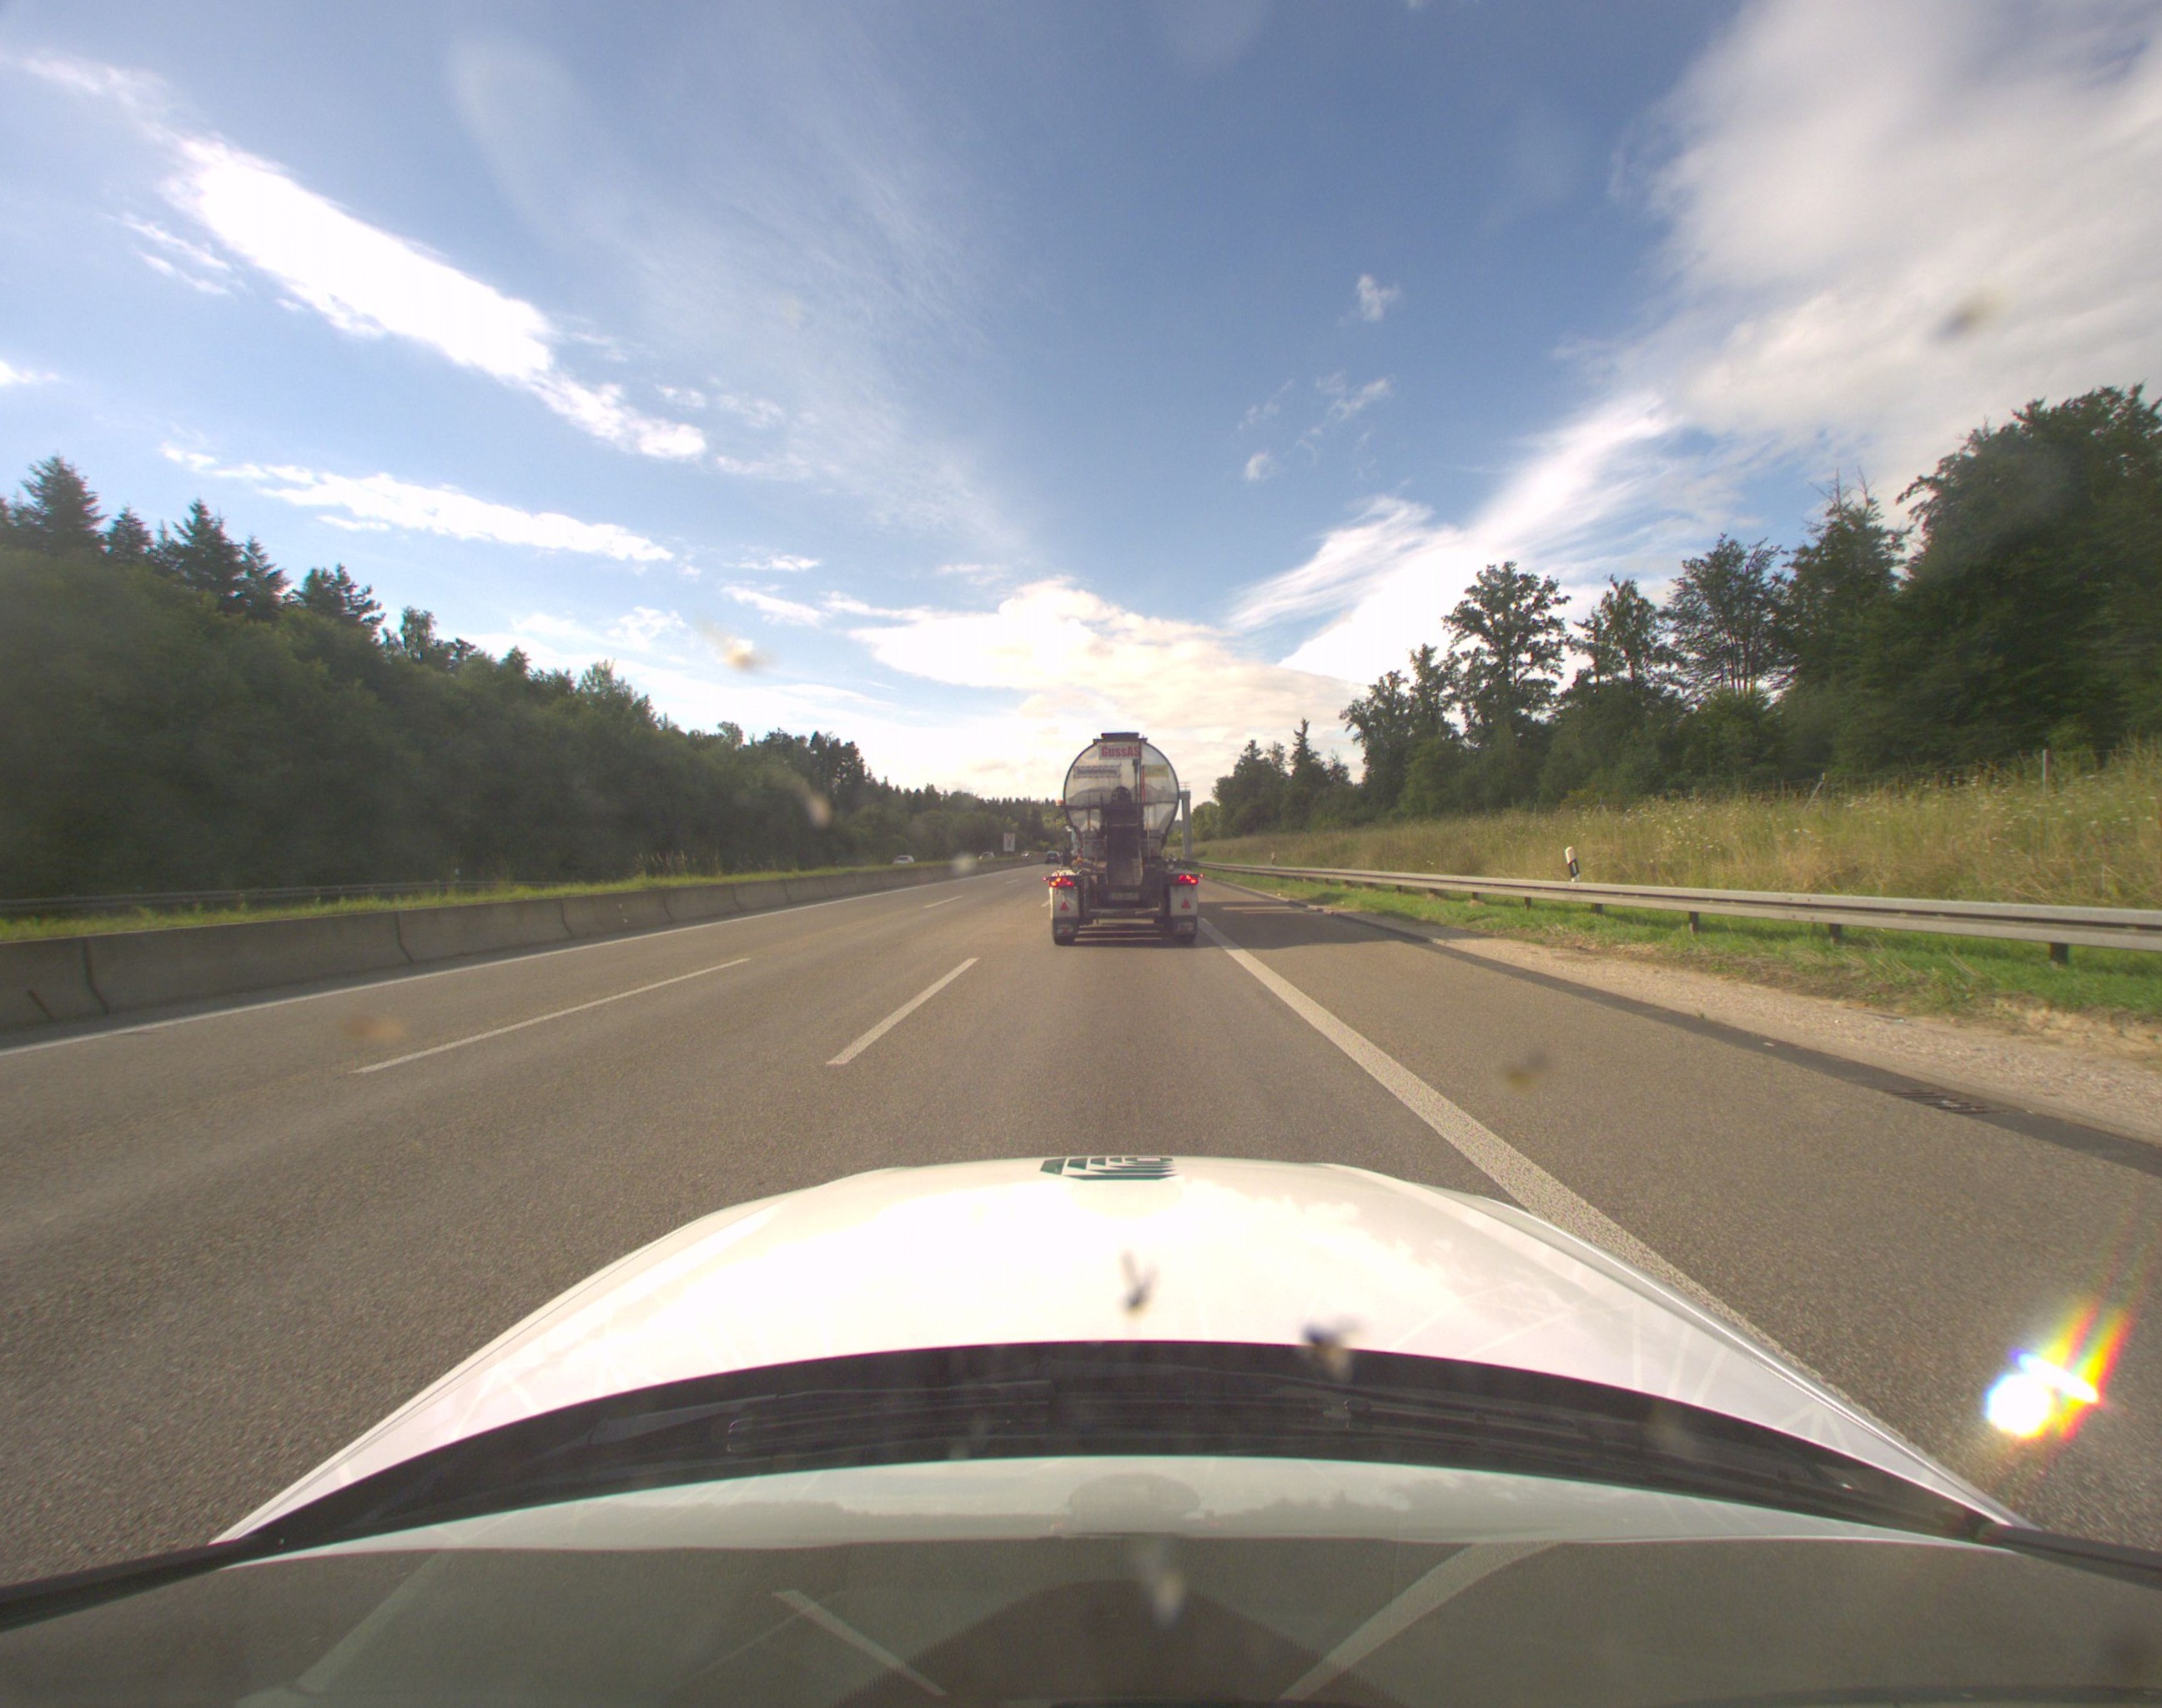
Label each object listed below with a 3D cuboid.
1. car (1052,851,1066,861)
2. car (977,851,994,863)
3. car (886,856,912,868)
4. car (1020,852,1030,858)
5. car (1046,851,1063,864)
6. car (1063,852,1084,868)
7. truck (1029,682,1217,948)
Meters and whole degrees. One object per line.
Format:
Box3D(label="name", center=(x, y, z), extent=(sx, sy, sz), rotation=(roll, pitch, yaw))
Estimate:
Box3D(label="car", center=(-3.306, 0.292, 123.018), extent=(1.849, 1.431, 4.843), rotation=(-1, 0, 2))
Box3D(label="car", center=(-14.021, 0.373, 120.080), extent=(1.899, 1.717, 4.002), rotation=(-1, 0, 2))
Box3D(label="car", center=(-19.428, 0.845, 87.130), extent=(1.809, 1.290, 3.546), rotation=(-1, 0, 2))
Box3D(label="car", center=(-14.097, 0.216, 203.828), extent=(1.942, 1.539, 4.329), rotation=(-1, 0, 2))
Box3D(label="car", center=(-3.366, 0.458, 103.052), extent=(1.828, 1.517, 4.335), rotation=(-1, 0, 2))
Box3D(label="car", center=(-0.729, 0.539, 81.529), extent=(1.828, 1.517, 4.335), rotation=(-1, 0, 2))
Box3D(label="truck", center=(0.900, -0.624, 18.523), extent=(2.901, 4.157, 11.276), rotation=(-1, 0, 2))
